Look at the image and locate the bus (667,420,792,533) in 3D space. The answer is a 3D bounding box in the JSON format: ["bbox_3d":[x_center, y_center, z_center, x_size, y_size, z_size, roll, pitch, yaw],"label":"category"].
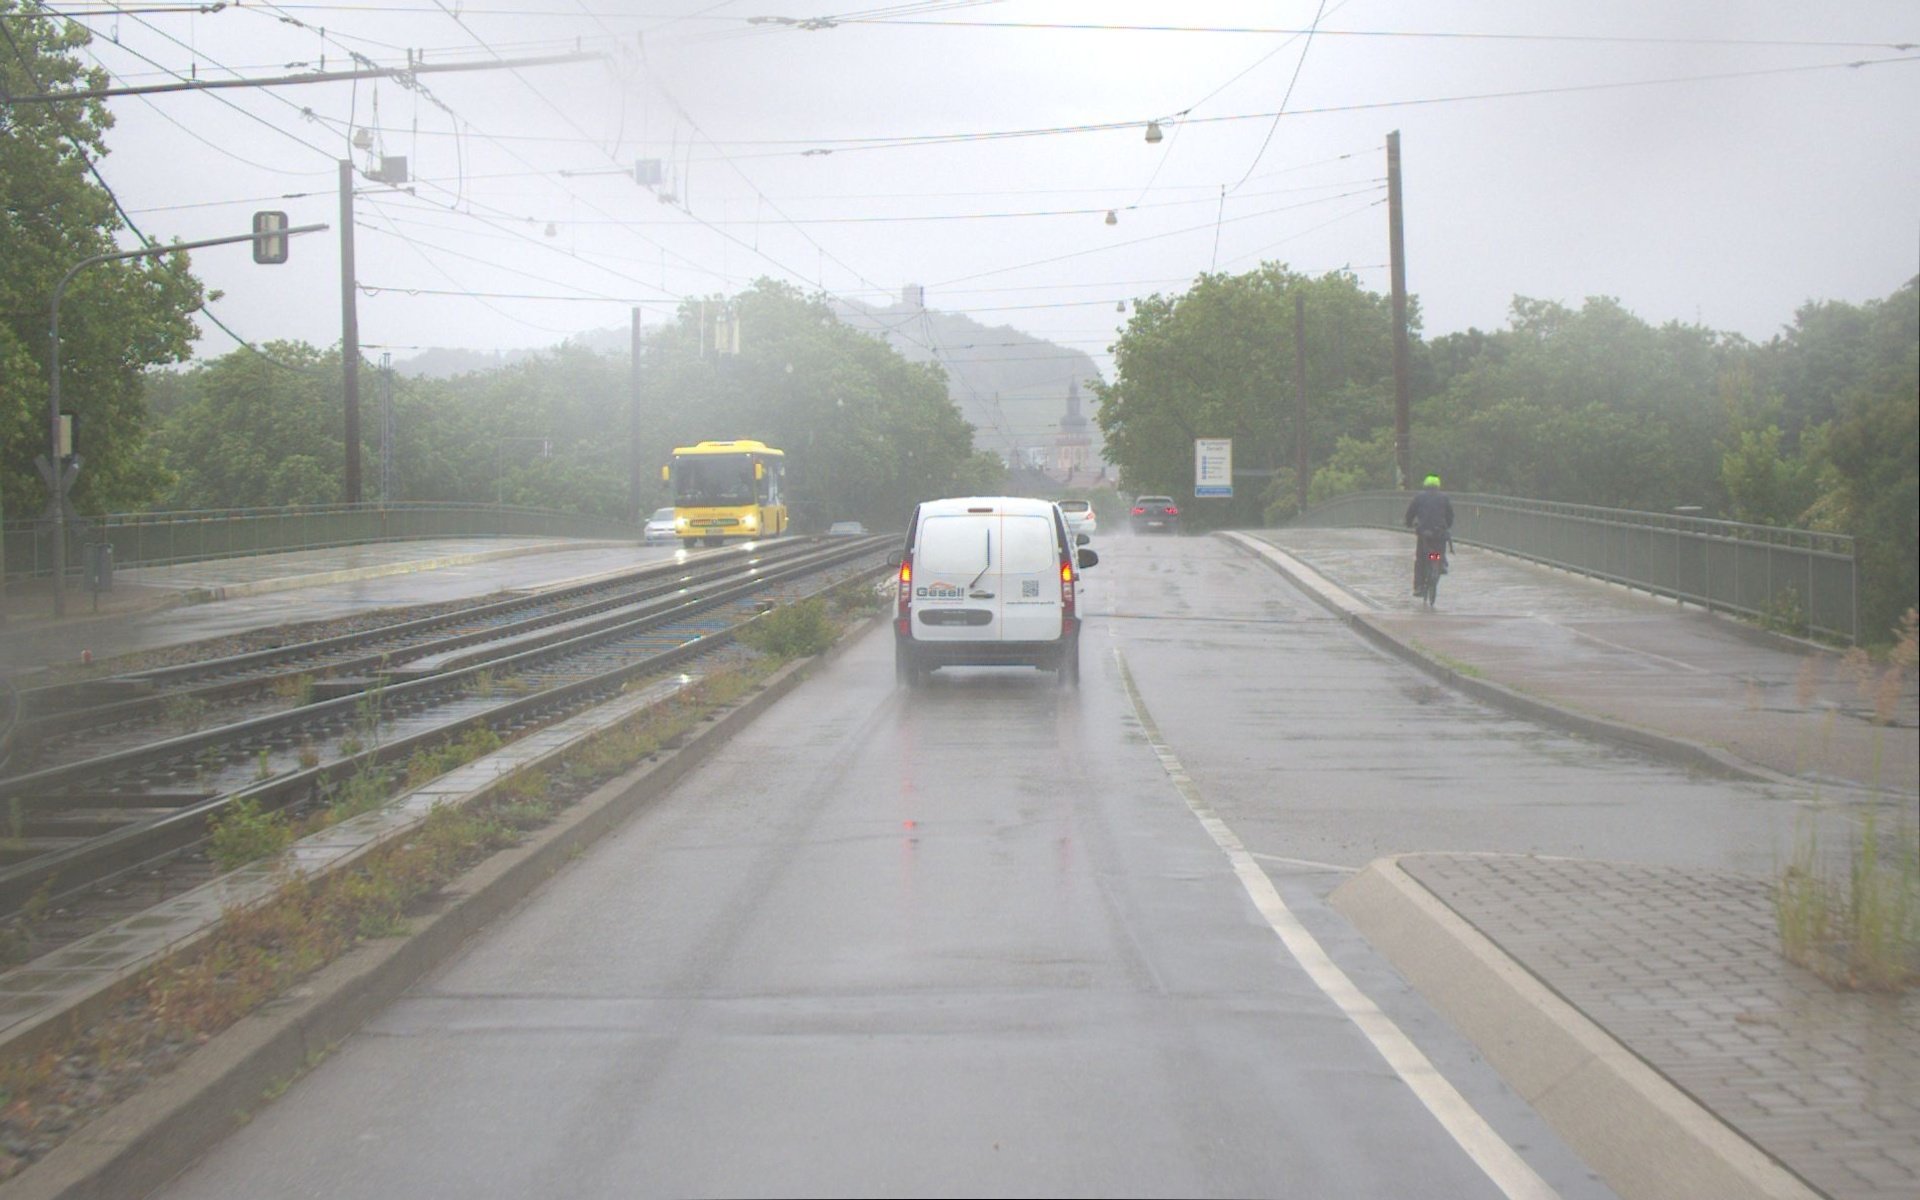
[{"bbox_3d":[-7.326,-4.073,110.924,2.708,3.329,10.994,-2,3,3],"label":"bus"}]

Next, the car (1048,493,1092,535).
[{"bbox_3d":[4.058,-3.185,127.377,1.451,1.494,2.982,1,1,-2],"label":"car"}]

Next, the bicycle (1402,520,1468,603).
[{"bbox_3d":[6.742,-0.558,48.849,0.723,1.125,2.168,1,2,3],"label":"bicycle"}]

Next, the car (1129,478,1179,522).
[{"bbox_3d":[6.714,-3.456,119.189,1.451,1.494,2.982,1,1,-2],"label":"car"}]

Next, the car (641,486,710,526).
[{"bbox_3d":[-10.258,-3.411,124.329,1.934,1.227,4.100,-2,3,3],"label":"car"}]

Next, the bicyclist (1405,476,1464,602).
[{"bbox_3d":[6.742,-0.862,48.864,0.725,1.757,0.949,1,1,3],"label":"bicyclist"}]

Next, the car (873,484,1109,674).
[{"bbox_3d":[0.370,-0.222,33.561,1.994,1.720,3.999,1,1,5],"label":"car"}]
